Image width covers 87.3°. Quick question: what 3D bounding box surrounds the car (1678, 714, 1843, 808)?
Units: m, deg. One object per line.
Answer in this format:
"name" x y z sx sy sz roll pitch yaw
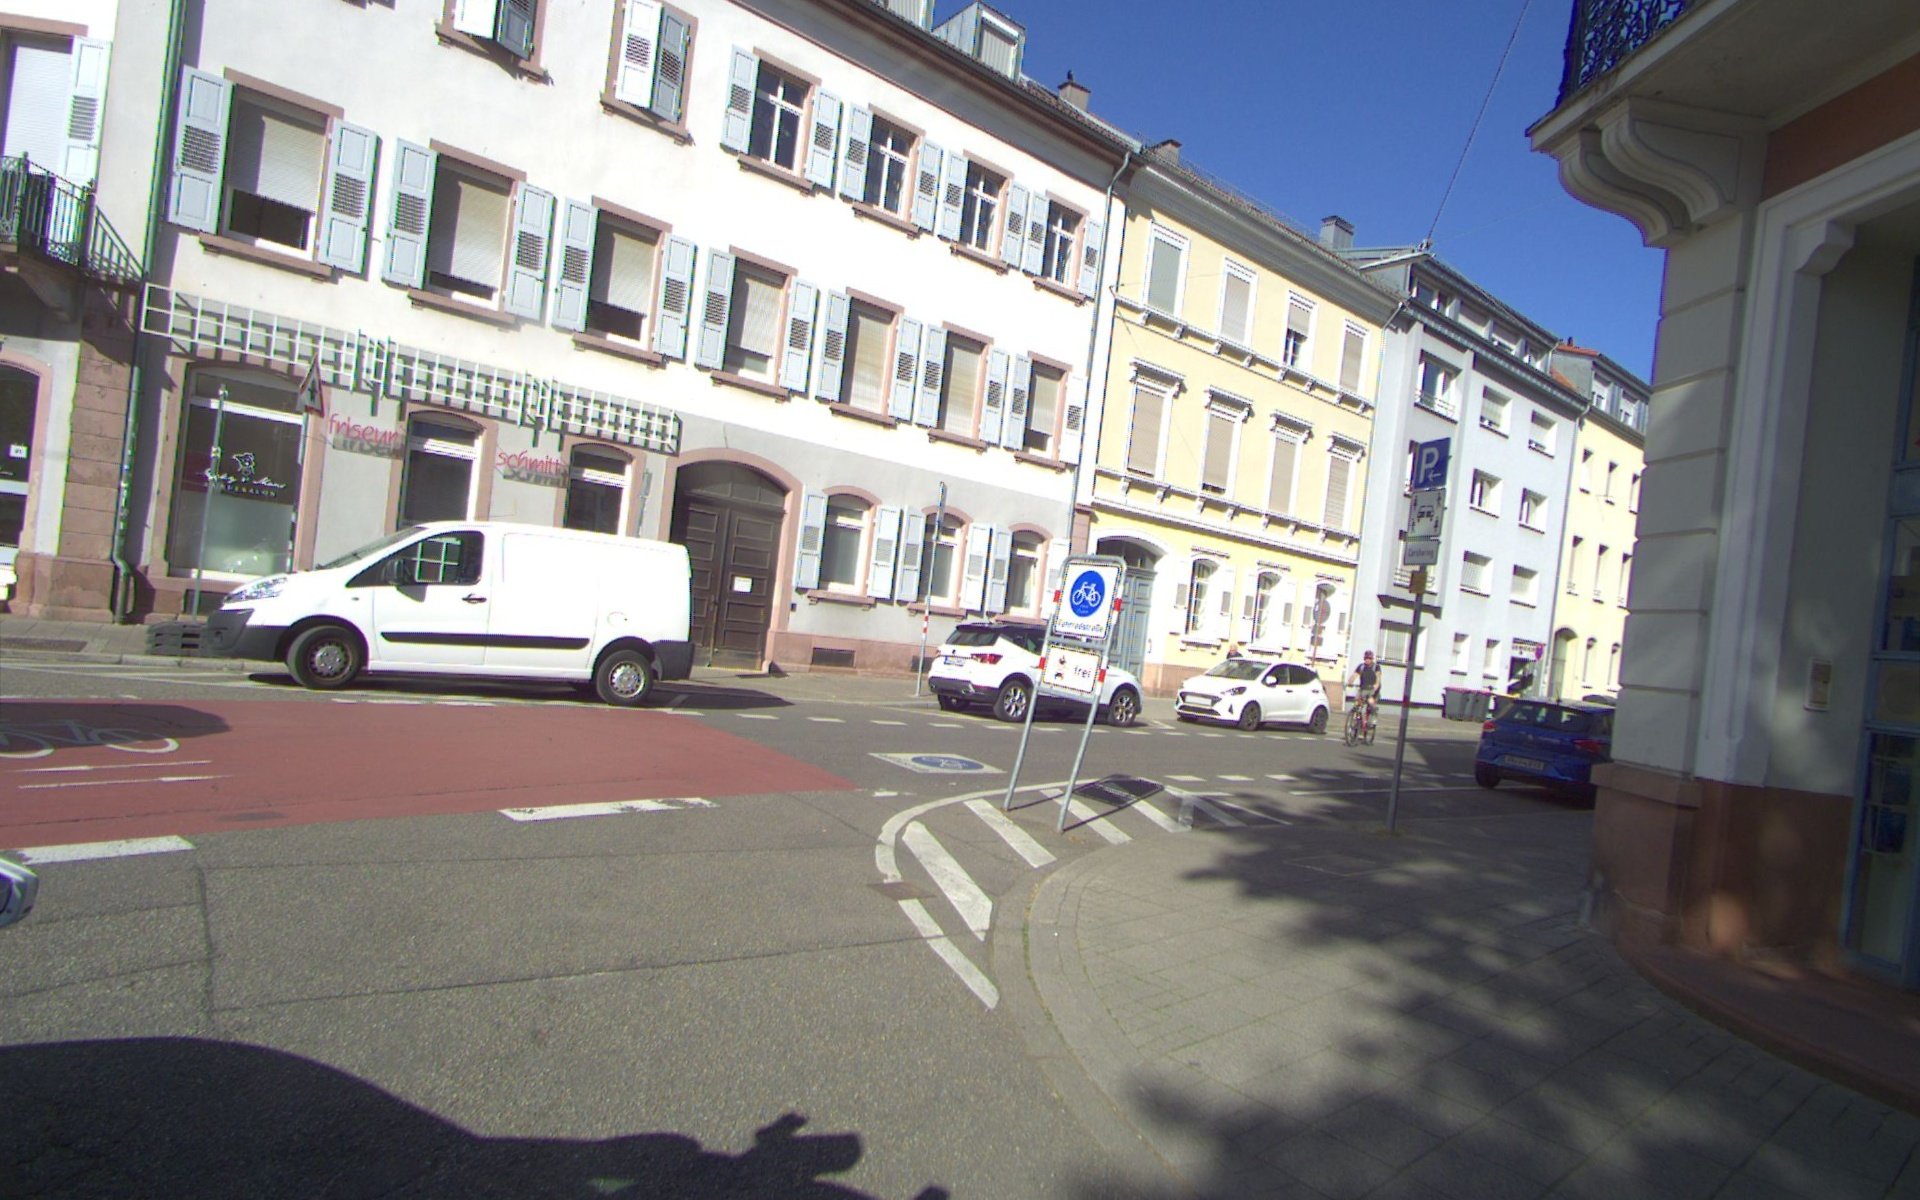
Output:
"car" 16.412 3.251 20.586 3.608 1.452 1.689 6 2 -38

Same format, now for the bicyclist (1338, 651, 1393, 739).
"bicyclist" 7.751 1.805 19.216 0.628 1.565 1.022 7 0 34

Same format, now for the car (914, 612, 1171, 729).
"car" 1.502 1.244 17.224 4.347 1.559 1.630 8 -3 -38

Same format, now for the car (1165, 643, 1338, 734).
"car" 6.197 1.897 21.245 3.609 1.559 1.616 8 -3 -38

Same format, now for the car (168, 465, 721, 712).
"car" -5.509 0.011 11.240 4.981 1.969 2.031 8 -1 -36

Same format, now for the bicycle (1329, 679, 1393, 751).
"bicycle" 7.629 2.161 19.091 0.662 1.214 1.921 6 -1 33

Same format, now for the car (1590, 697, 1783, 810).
"car" 13.020 2.703 17.981 3.608 1.557 1.689 6 2 -38

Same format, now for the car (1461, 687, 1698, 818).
"car" 9.251 2.216 14.938 3.608 1.452 1.689 6 2 -38

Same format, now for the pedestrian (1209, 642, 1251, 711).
"pedestrian" 6.692 1.886 24.902 0.634 1.620 0.578 6 0 -38

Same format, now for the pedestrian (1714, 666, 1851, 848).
"pedestrian" 8.532 1.593 10.466 0.815 1.785 0.753 1 -2 2
